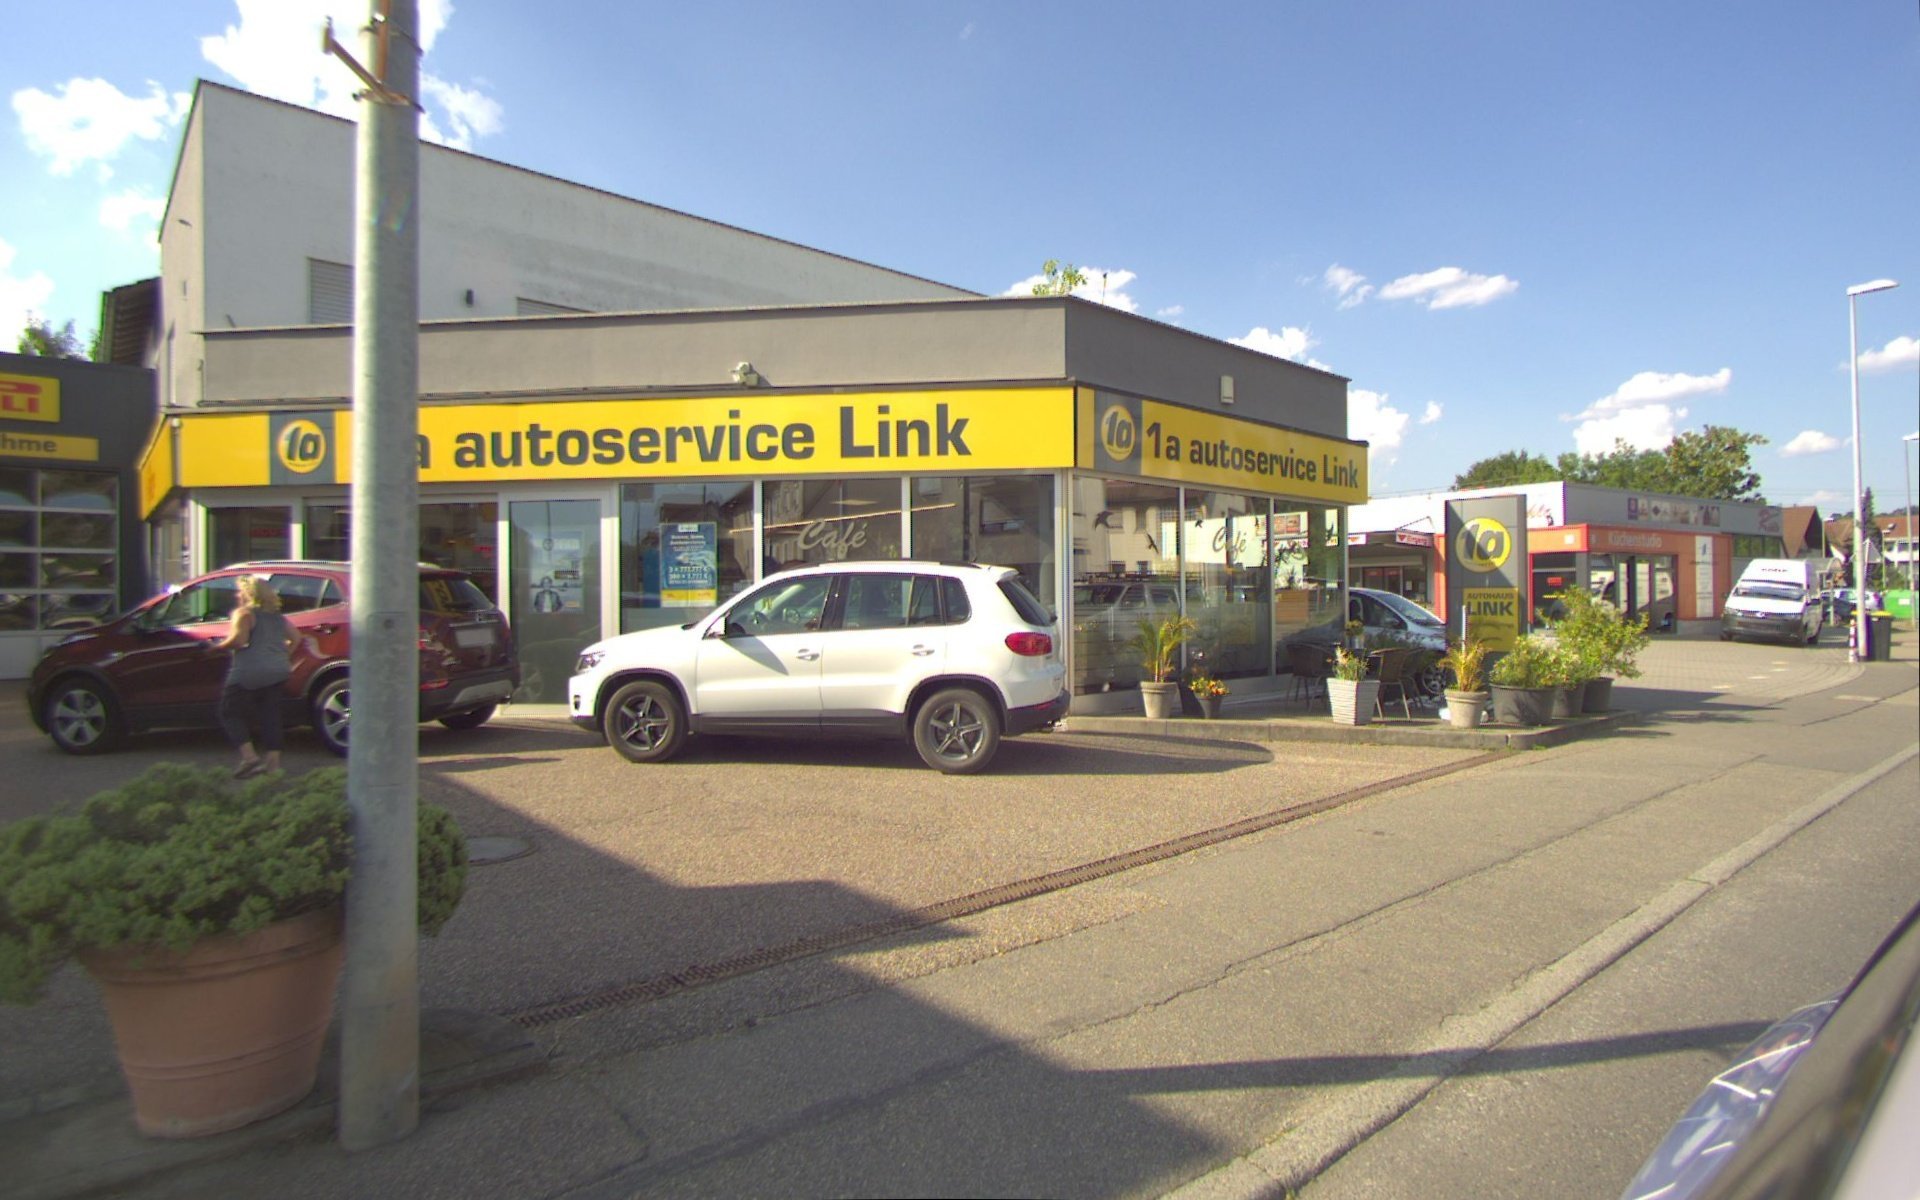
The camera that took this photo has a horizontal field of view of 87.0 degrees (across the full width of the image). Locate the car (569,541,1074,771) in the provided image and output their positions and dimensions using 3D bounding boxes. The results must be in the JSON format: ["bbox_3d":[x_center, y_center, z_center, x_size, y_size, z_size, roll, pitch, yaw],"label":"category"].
[{"bbox_3d":[-1.050,0.387,8.683,4.008,1.695,1.674,1,1,7],"label":"car"}]

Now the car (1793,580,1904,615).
[{"bbox_3d":[44.088,-0.141,50.301,1.653,1.623,3.947,-2,1,-40],"label":"car"}]

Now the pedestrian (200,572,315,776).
[{"bbox_3d":[-5.360,0.541,7.744,0.423,1.498,0.624,0,0,6],"label":"pedestrian"}]

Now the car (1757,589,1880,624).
[{"bbox_3d":[39.294,0.247,46.386,1.596,1.434,4.075,-1,2,-38],"label":"car"}]

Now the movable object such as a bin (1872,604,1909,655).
[{"bbox_3d":[20.222,0.632,21.992,0.563,1.088,0.567,0,1,-45],"label":"movable object such as a bin"}]

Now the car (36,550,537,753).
[{"bbox_3d":[-6.029,0.405,9.290,3.624,1.653,1.674,0,1,7],"label":"car"}]

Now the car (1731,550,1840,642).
[{"bbox_3d":[24.196,-0.175,29.596,5.094,2.403,1.838,-1,4,-45],"label":"car"}]

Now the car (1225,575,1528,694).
[{"bbox_3d":[6.116,0.434,15.244,1.500,1.550,3.995,0,0,-40],"label":"car"}]
